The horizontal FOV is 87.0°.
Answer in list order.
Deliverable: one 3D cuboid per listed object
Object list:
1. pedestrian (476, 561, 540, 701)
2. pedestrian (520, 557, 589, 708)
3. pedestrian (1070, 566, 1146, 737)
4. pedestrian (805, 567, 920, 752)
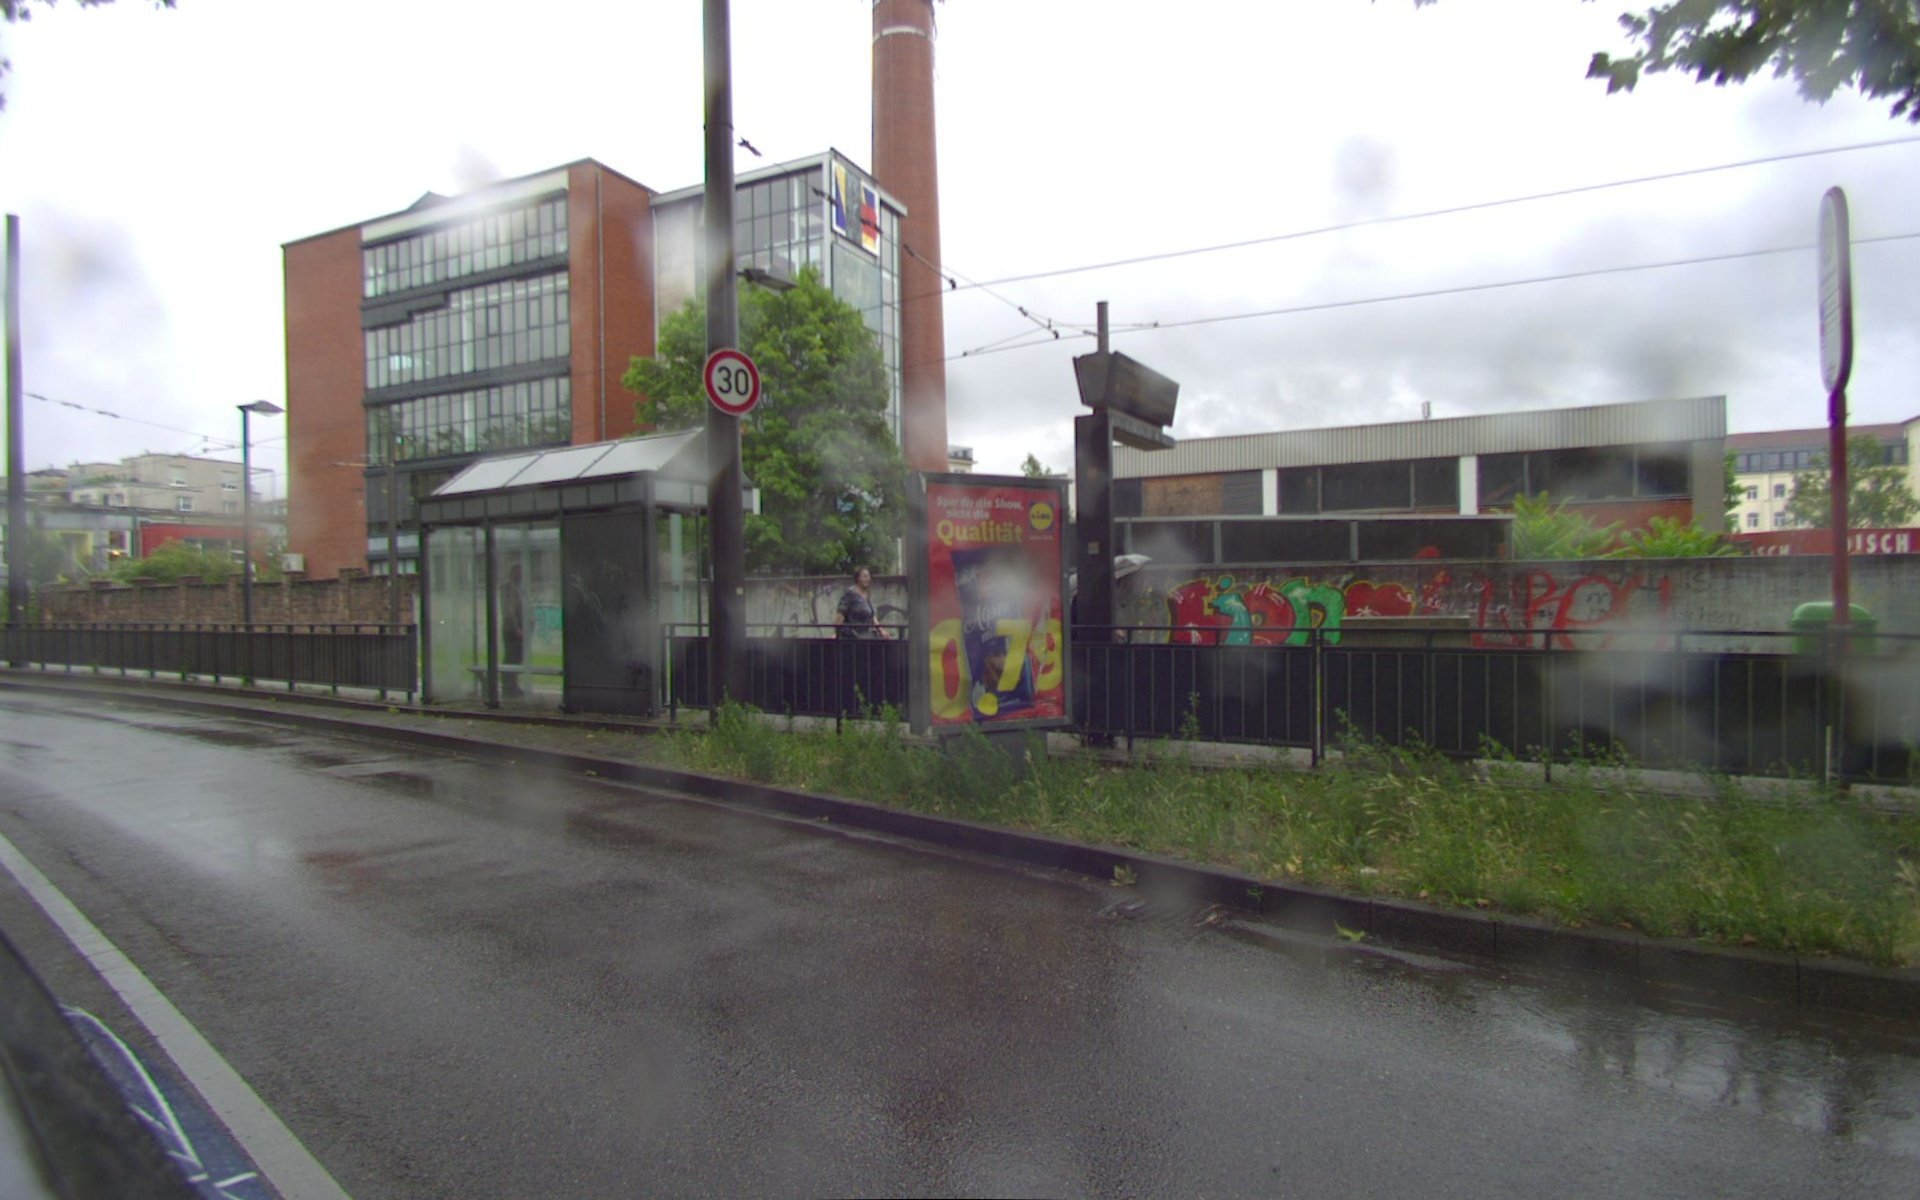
[{"bbox_3d":[-5.866,0.392,13.137,0.620,1.762,0.515,-1,0,-41],"label":"pedestrian"},{"bbox_3d":[-4.916,0.380,12.269,0.620,1.762,0.565,-1,0,-41],"label":"pedestrian"},{"bbox_3d":[1.308,0.431,8.898,0.492,1.438,0.606,-1,0,25],"label":"pedestrian"},{"bbox_3d":[-1.010,0.591,10.545,0.841,1.818,0.819,-1,0,30],"label":"pedestrian"}]
